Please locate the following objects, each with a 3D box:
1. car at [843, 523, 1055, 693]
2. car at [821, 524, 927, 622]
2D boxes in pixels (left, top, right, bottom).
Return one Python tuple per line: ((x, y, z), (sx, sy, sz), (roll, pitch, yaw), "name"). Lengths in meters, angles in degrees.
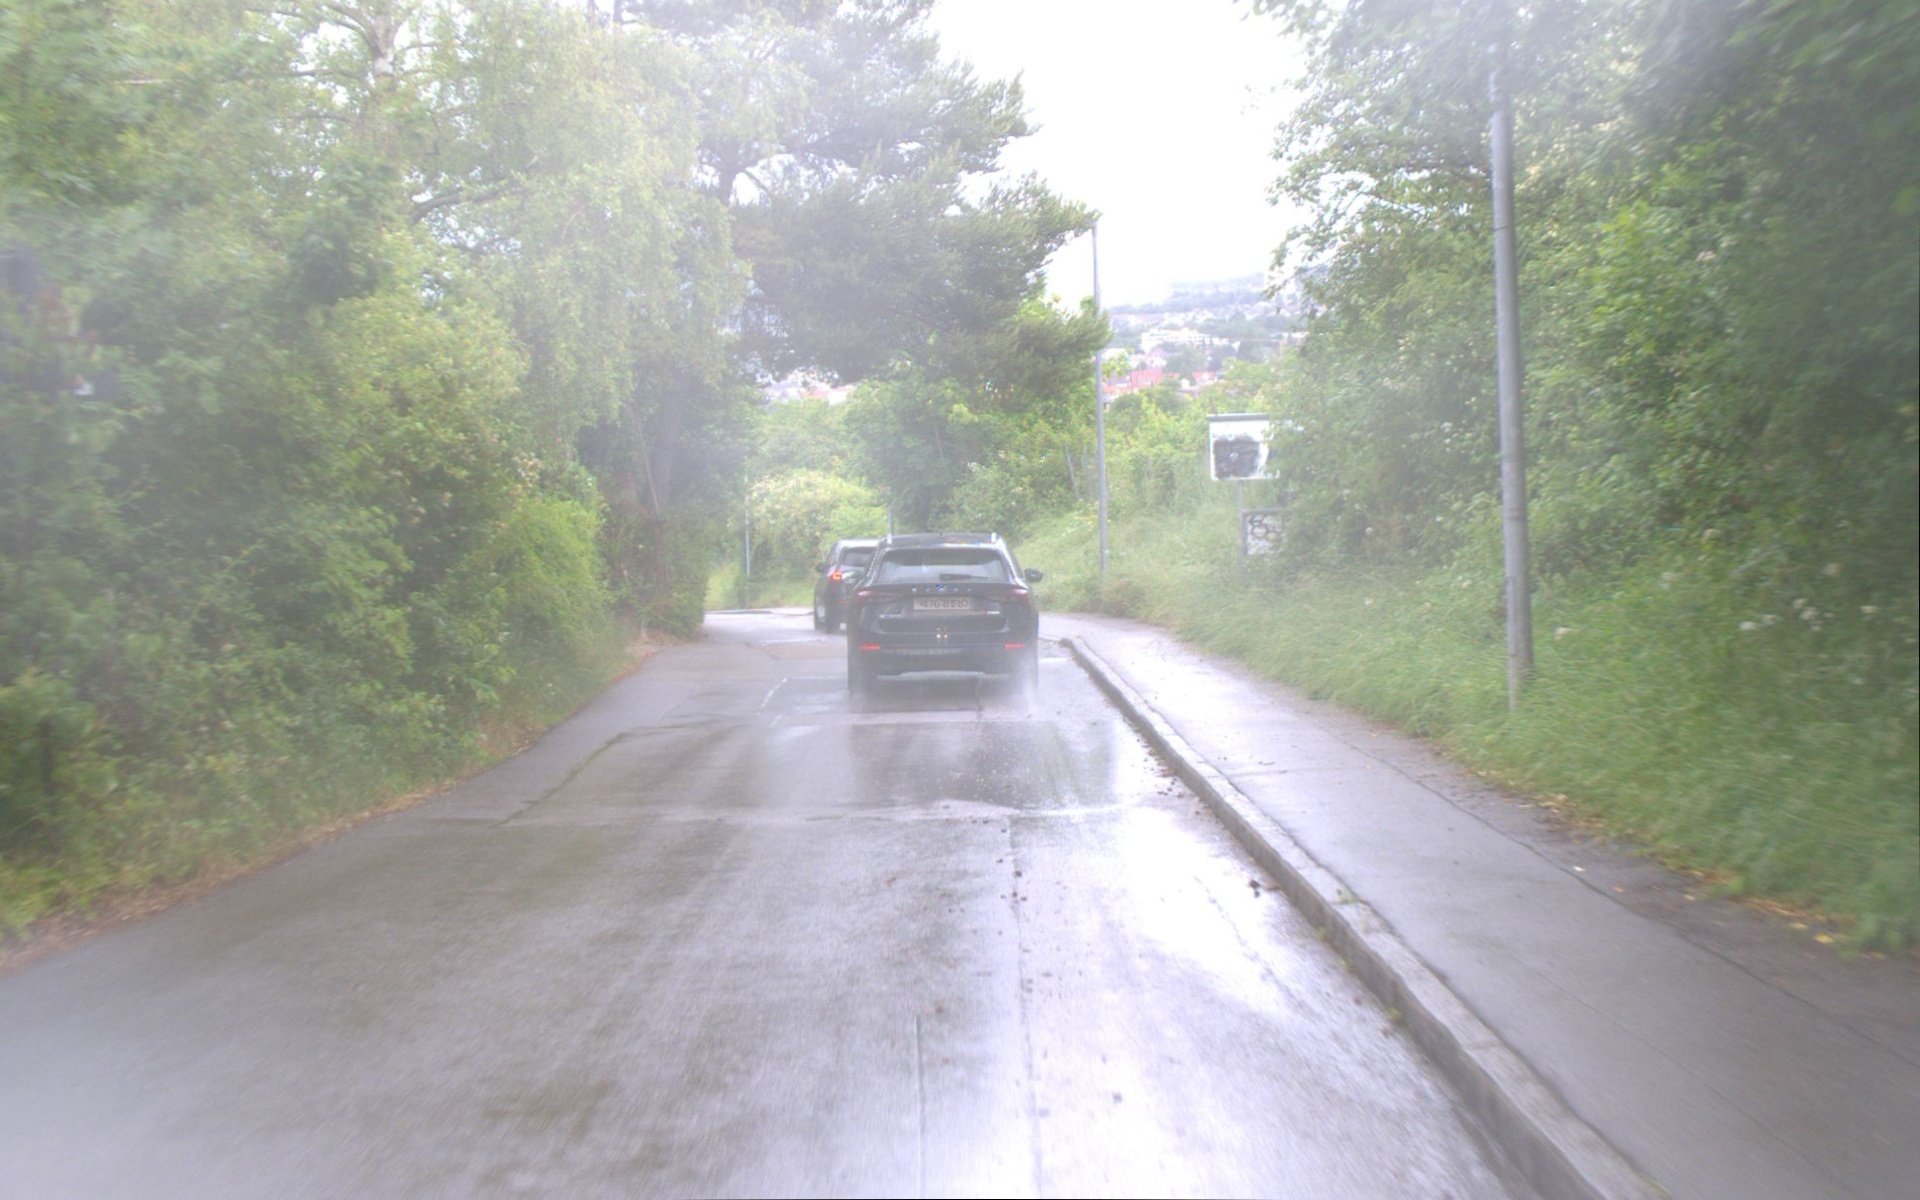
((-0.140, 0.048, 32.494), (1.835, 1.459, 4.000), (-2, 1, -1), "car")
((-1.417, -0.474, 56.756), (1.678, 1.560, 3.794), (0, 1, -1), "car")
